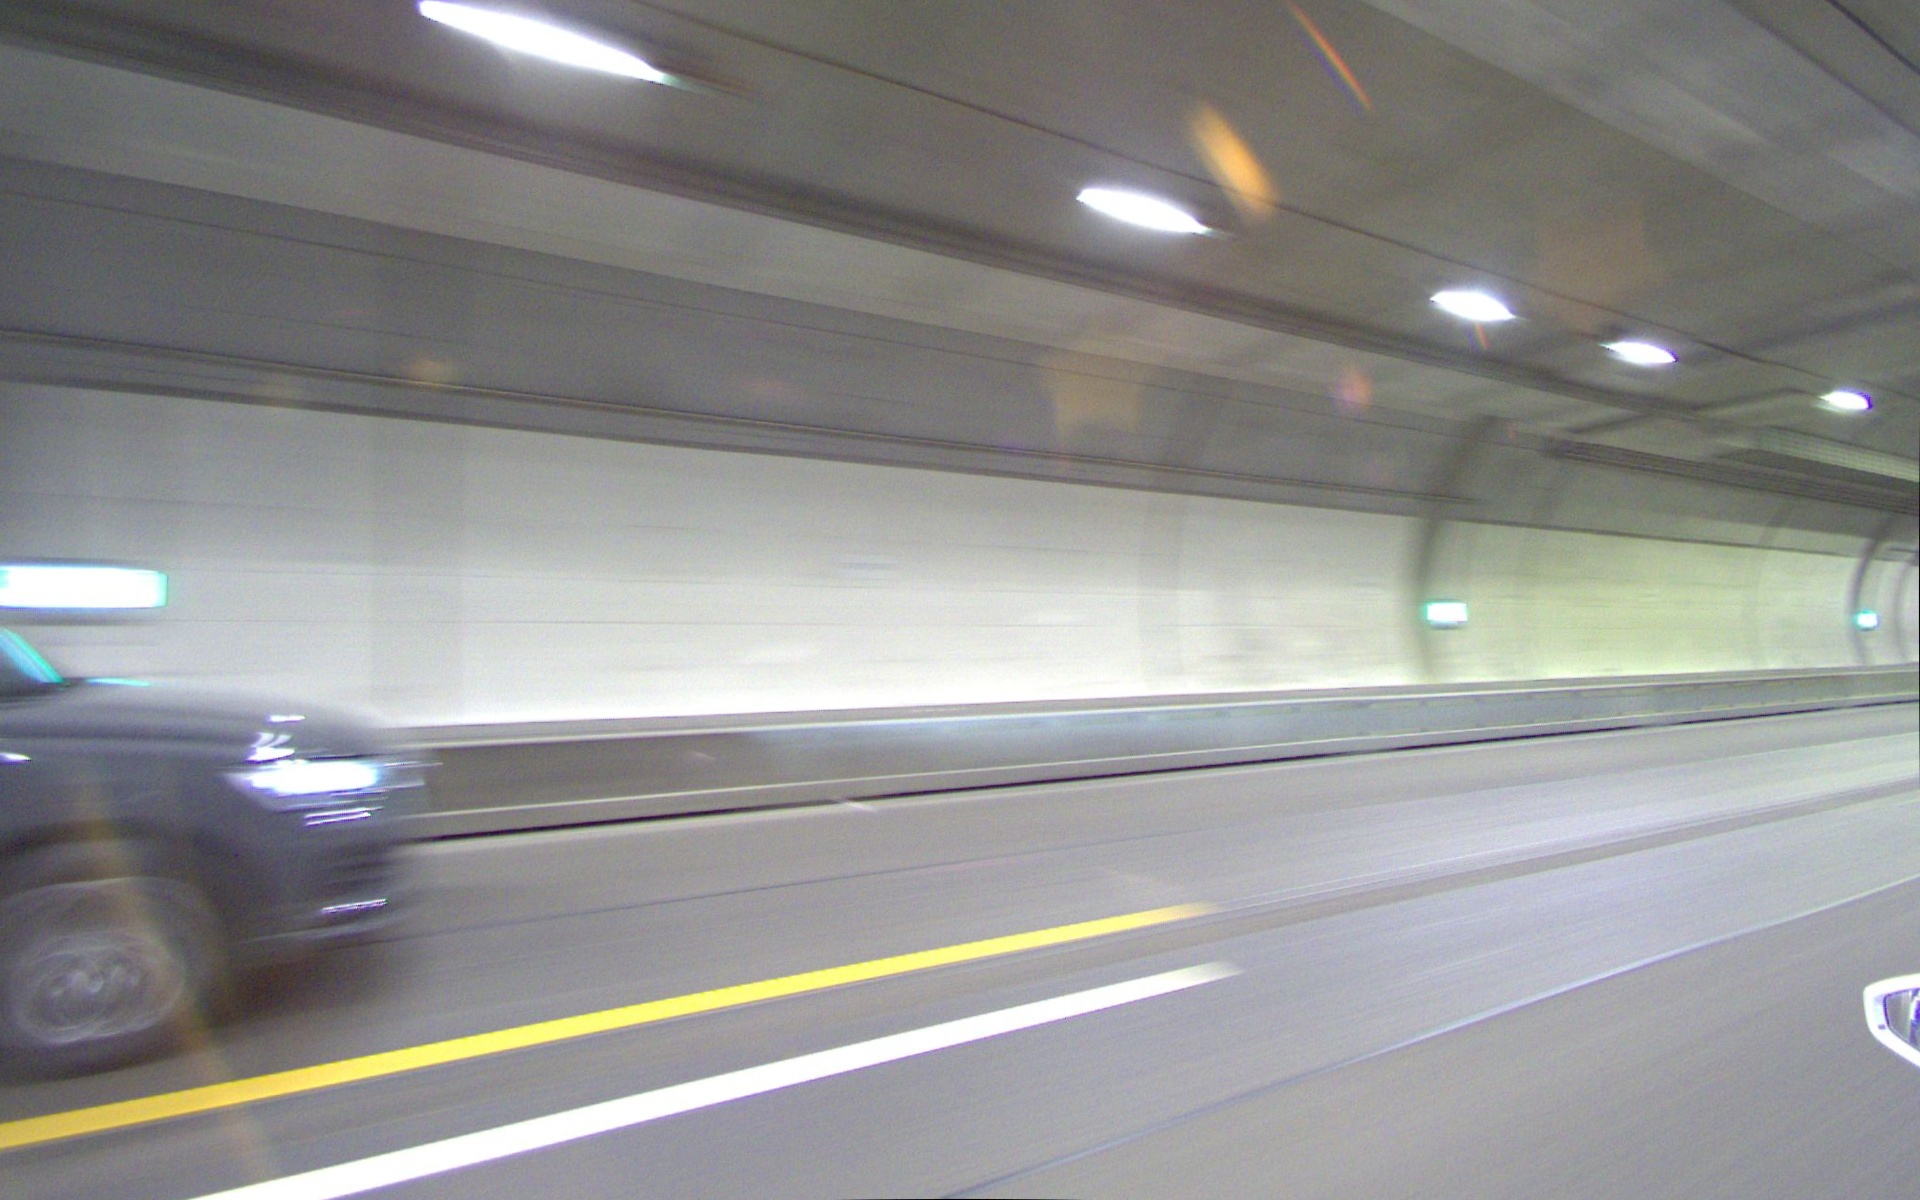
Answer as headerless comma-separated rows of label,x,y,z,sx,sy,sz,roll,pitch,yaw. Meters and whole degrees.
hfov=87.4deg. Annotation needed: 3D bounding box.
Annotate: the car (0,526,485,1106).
car,-4.081,0.542,2.953,4.688,1.561,1.984,2,0,-31
